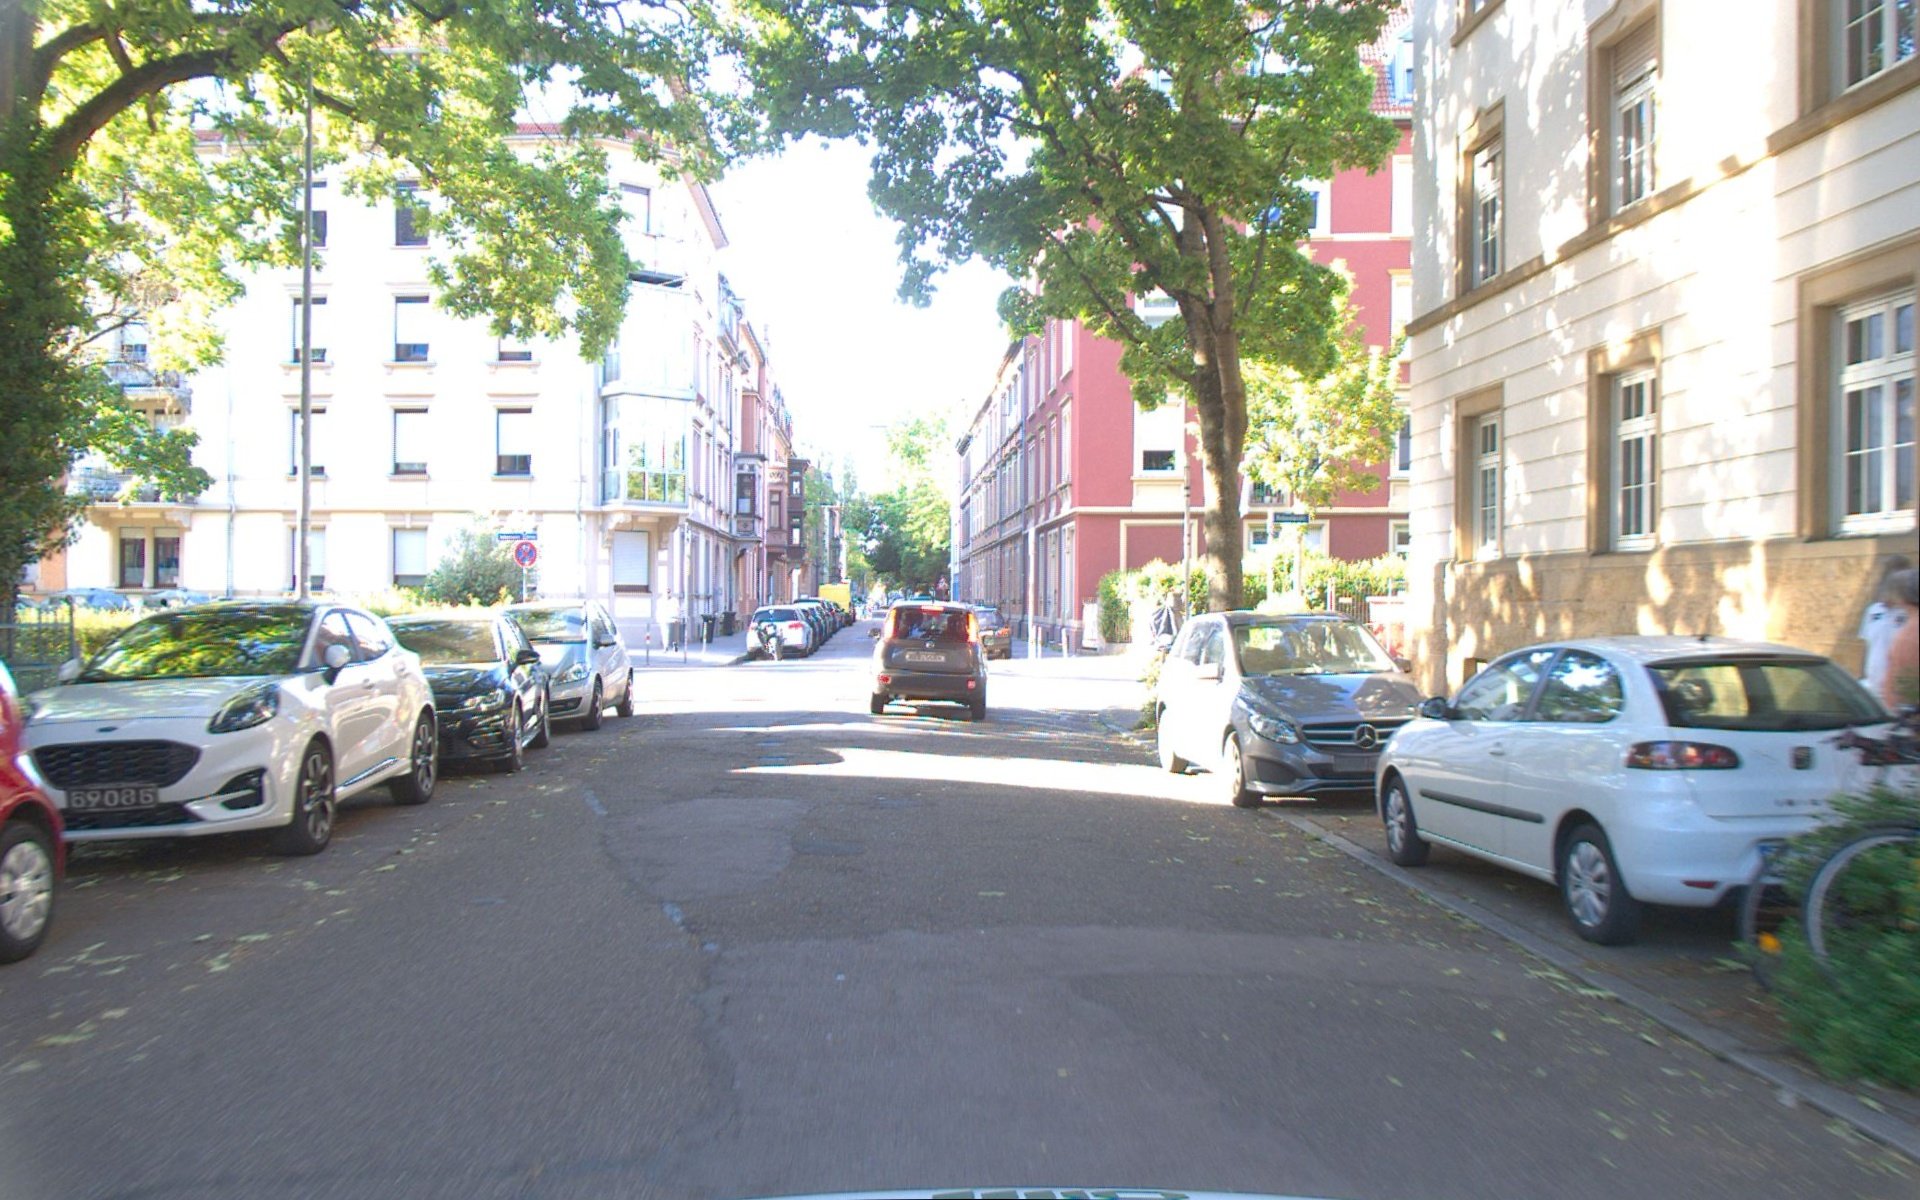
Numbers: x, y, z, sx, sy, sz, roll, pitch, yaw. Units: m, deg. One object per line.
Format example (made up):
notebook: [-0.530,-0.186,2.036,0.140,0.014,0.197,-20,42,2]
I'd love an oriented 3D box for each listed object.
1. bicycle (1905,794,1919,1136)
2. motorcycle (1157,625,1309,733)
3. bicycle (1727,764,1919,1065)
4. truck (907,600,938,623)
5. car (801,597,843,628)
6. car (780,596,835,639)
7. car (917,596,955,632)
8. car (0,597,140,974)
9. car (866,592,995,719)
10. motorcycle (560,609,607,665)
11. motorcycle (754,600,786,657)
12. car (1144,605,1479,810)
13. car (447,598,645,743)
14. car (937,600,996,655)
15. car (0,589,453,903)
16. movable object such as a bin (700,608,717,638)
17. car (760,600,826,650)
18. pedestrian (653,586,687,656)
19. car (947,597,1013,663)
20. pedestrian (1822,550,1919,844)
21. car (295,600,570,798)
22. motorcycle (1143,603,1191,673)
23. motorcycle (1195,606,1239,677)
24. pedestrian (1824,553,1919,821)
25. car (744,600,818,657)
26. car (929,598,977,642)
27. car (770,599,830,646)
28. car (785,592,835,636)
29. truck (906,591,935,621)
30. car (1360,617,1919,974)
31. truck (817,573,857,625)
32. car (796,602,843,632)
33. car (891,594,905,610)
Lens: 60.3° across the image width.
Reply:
bicycle: [3.880,1.161,4.983,1.734,1.057,0.606,1,0,-3]
motorcycle: [3.369,0.971,20.417,1.811,1.288,0.505,-1,0,12]
bicycle: [3.889,1.136,6.206,1.681,0.966,0.733,-1,0,-3]
truck: [-2.467,0.721,108.891,1.954,1.482,3.998,0,0,-3]
car: [-7.158,0.629,86.207,1.922,1.504,3.923,-3,0,-2]
car: [-5.876,0.662,64.154,1.792,1.504,3.923,-3,0,-2]
car: [-1.095,0.607,74.709,1.629,1.531,3.756,1,0,-2]
car: [-4.570,0.778,5.723,1.570,1.485,4.025,-3,0,-3]
car: [-0.416,0.726,23.296,1.600,1.577,3.263,3,0,-1]
motorcycle: [-9.340,0.905,41.100,0.507,1.316,1.613,2,0,11]
motorcycle: [-5.108,0.762,44.474,0.684,1.486,1.746,-1,0,-12]
car: [2.974,0.839,14.996,1.754,1.578,4.405,1,0,-5]
car: [-5.145,0.809,21.049,1.663,1.577,3.916,-3,0,-3]
car: [0.153,0.805,50.075,1.629,1.531,3.756,1,0,-2]
car: [-4.761,0.787,10.918,1.789,1.581,4.129,-4,0,-5]
movable object such as a bin: [-8.441,0.772,55.502,0.502,0.969,0.500,0,0,-5]
car: [-5.293,0.777,52.855,1.741,1.437,3.923,-3,0,-2]
pedestrian: [-7.842,0.558,44.689,0.707,1.871,0.627,1,0,8]
car: [0.516,0.800,45.595,1.629,1.698,3.756,1,0,-2]
pedestrian: [5.924,0.570,10.166,0.763,1.724,0.873,0,0,-6]
car: [-4.895,0.816,15.957,1.714,1.500,4.456,-4,1,-8]
motorcycle: [4.684,0.825,37.270,0.998,1.428,2.194,0,2,9]
motorcycle: [5.676,0.887,36.670,0.809,1.429,2.558,0,2,5]
pedestrian: [6.262,0.563,11.117,0.480,1.735,0.757,0,0,-4]
car: [-5.120,0.779,47.774,1.761,1.456,3.923,-3,0,-2]
car: [-0.280,0.709,61.063,1.629,1.531,3.756,1,0,-2]
car: [-5.684,0.779,59.057,1.788,1.492,3.923,-3,0,-2]
car: [-6.245,0.562,69.297,1.739,1.728,3.923,-3,0,-2]
truck: [-2.751,0.380,114.263,1.954,2.027,3.998,0,0,-3]
car: [3.687,0.877,9.242,1.580,1.504,3.864,0,0,-7]
truck: [-7.450,-0.065,100.314,2.029,2.976,5.066,-3,0,-2]
car: [-6.637,0.783,78.574,1.922,1.246,3.923,-3,0,-2]
car: [-6.311,0.217,167.930,1.340,1.646,3.412,0,0,-2]
